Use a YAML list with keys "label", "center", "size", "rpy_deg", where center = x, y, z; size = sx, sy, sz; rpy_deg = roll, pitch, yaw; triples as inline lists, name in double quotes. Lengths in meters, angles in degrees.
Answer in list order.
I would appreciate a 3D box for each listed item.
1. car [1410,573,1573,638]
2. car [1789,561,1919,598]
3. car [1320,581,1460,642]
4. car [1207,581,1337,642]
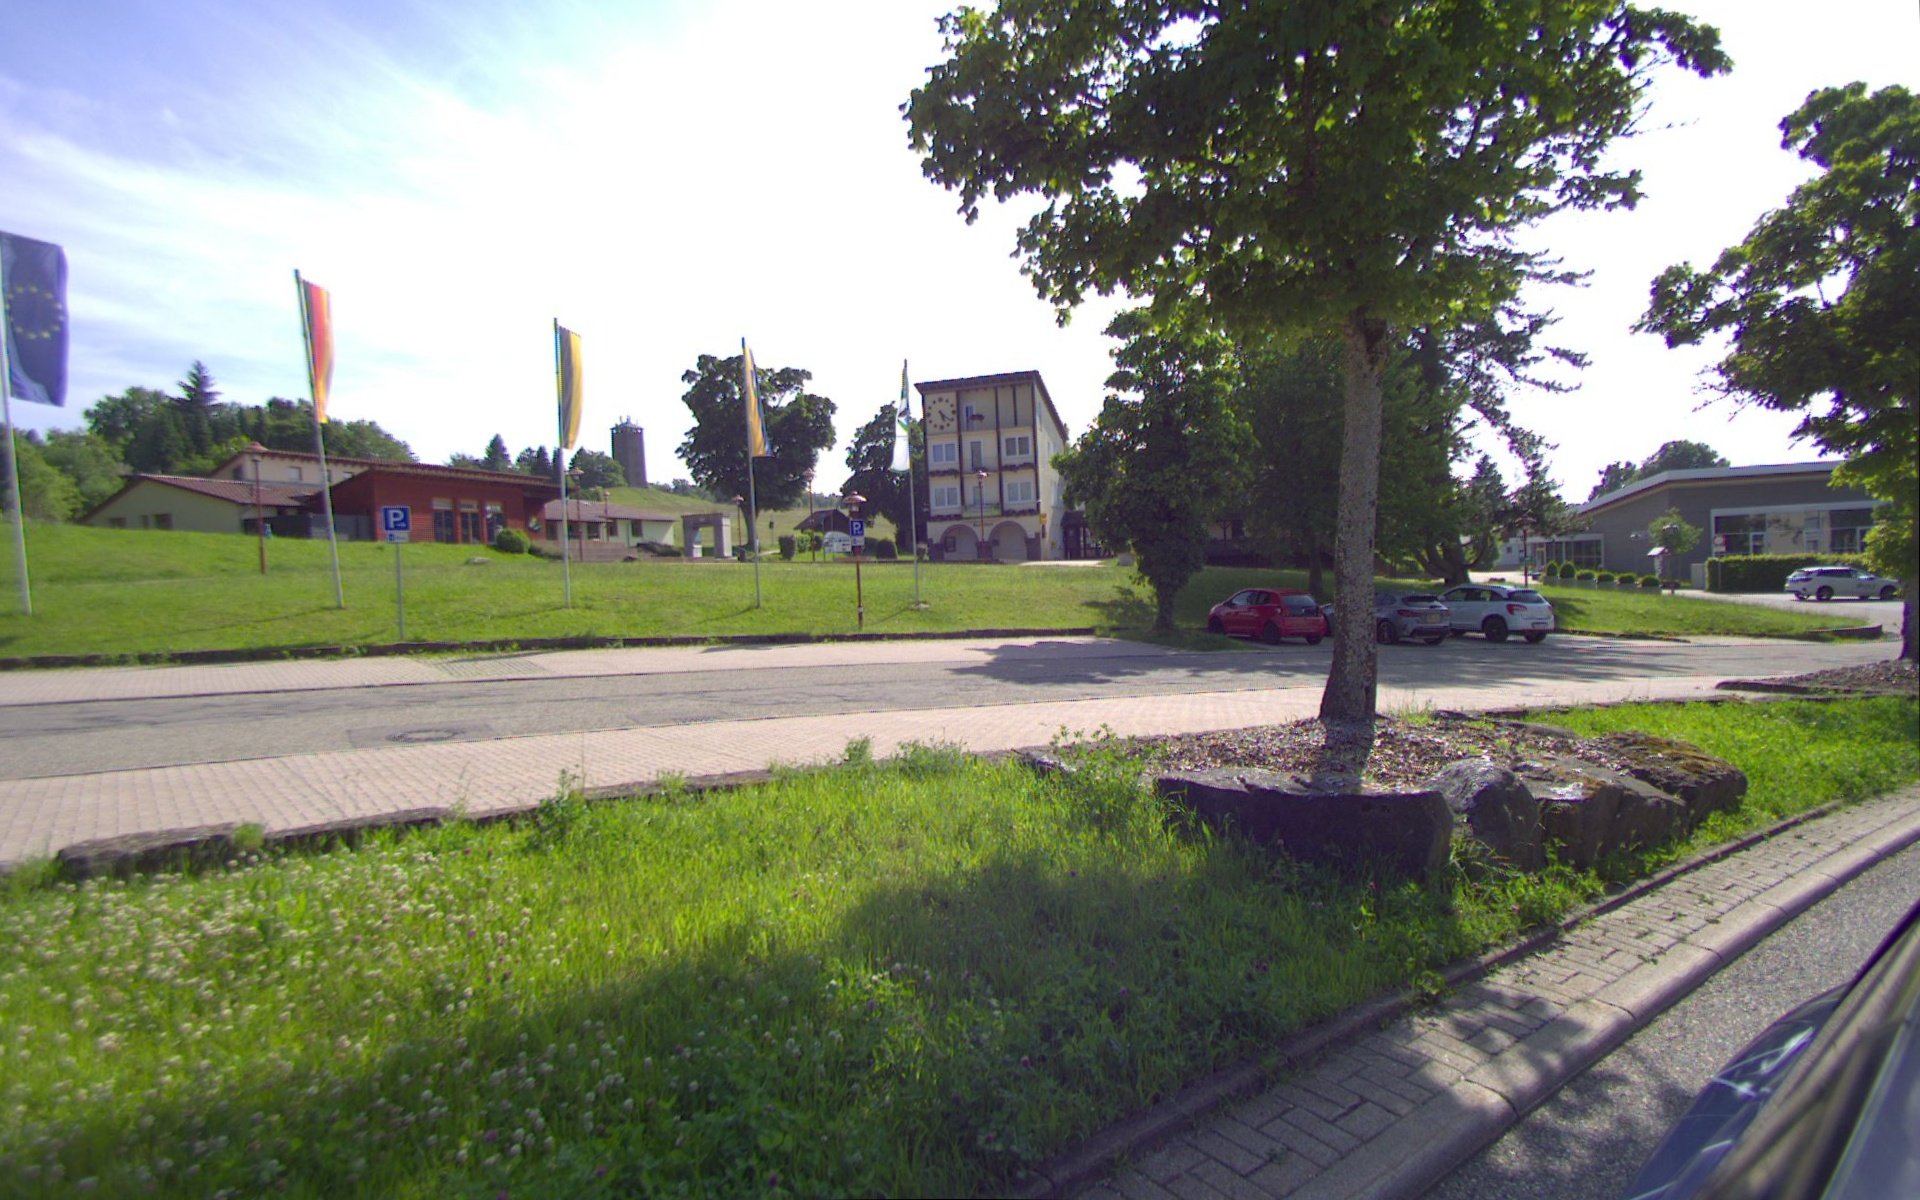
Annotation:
- label: "car"
  center: [15.530, 0.114, 29.830]
  size: [1.958, 1.637, 4.011]
  rpy_deg: [1, 3, -17]
- label: "car"
  center: [42.166, -0.982, 47.724]
  size: [4.301, 1.533, 1.788]
  rpy_deg: [2, 3, 12]
- label: "car"
  center: [11.884, 0.277, 28.203]
  size: [1.650, 1.444, 3.549]
  rpy_deg: [1, 3, -17]
- label: "car"
  center: [8.423, 0.254, 27.599]
  size: [1.678, 1.421, 3.321]
  rpy_deg: [-1, 3, -21]
